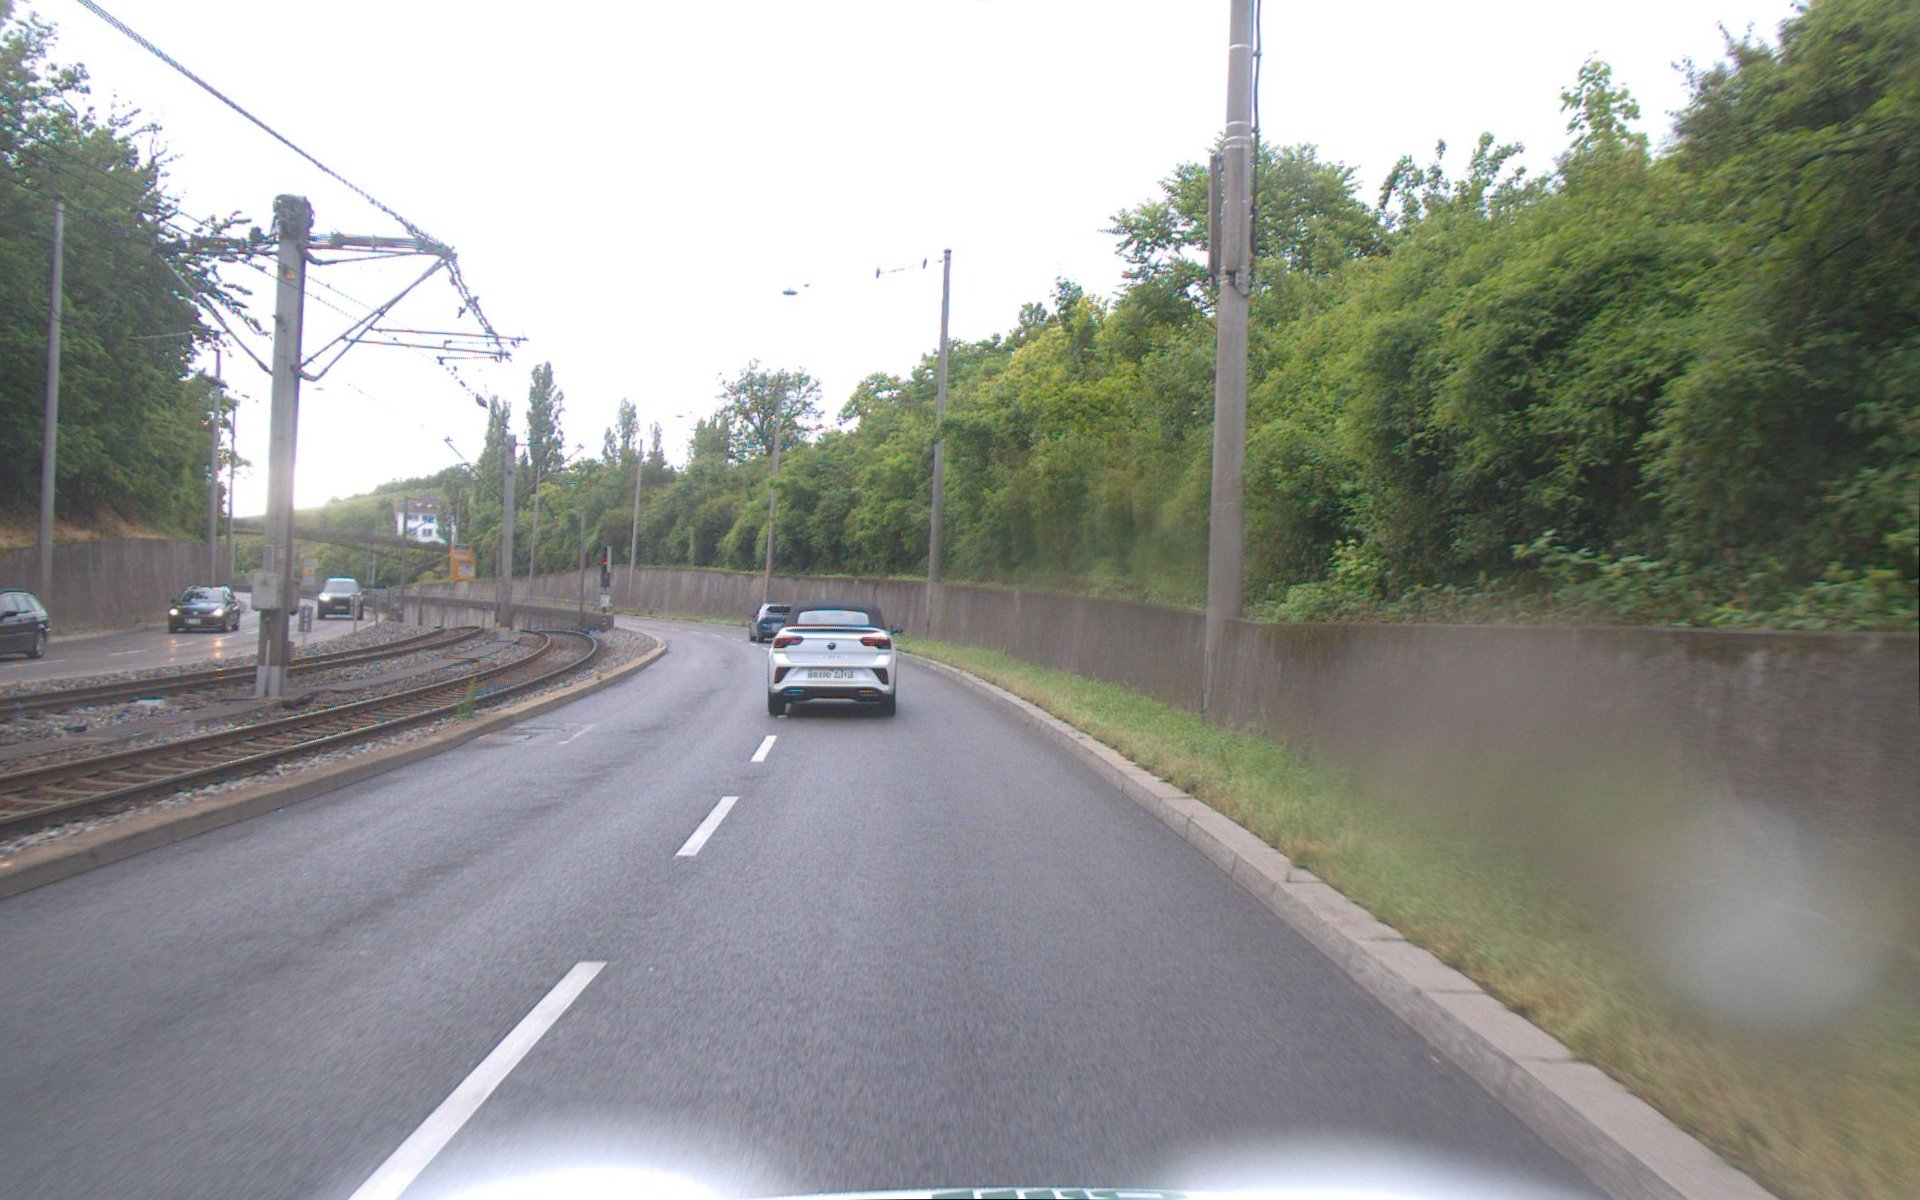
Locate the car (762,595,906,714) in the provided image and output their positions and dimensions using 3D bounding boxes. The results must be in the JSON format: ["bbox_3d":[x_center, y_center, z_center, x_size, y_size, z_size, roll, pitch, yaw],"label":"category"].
[{"bbox_3d":[-1.722,0.733,23.912,1.833,1.551,4.538,0,0,-2],"label":"car"}]

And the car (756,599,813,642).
[{"bbox_3d":[-6.709,0.752,62.897,1.733,1.527,3.987,1,0,-12],"label":"car"}]

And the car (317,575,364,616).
[{"bbox_3d":[-28.550,-0.210,76.184,1.901,1.818,4.421,0,0,-22],"label":"car"}]

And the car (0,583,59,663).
[{"bbox_3d":[-19.689,0.453,33.058,1.714,1.542,4.561,-1,0,-12],"label":"car"}]

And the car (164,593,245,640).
[{"bbox_3d":[-25.118,0.508,55.126,1.897,1.439,4.430,-1,1,-17],"label":"car"}]

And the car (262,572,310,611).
[{"bbox_3d":[-36.803,-0.463,90.374,1.961,2.049,3.983,1,0,-16],"label":"car"}]
